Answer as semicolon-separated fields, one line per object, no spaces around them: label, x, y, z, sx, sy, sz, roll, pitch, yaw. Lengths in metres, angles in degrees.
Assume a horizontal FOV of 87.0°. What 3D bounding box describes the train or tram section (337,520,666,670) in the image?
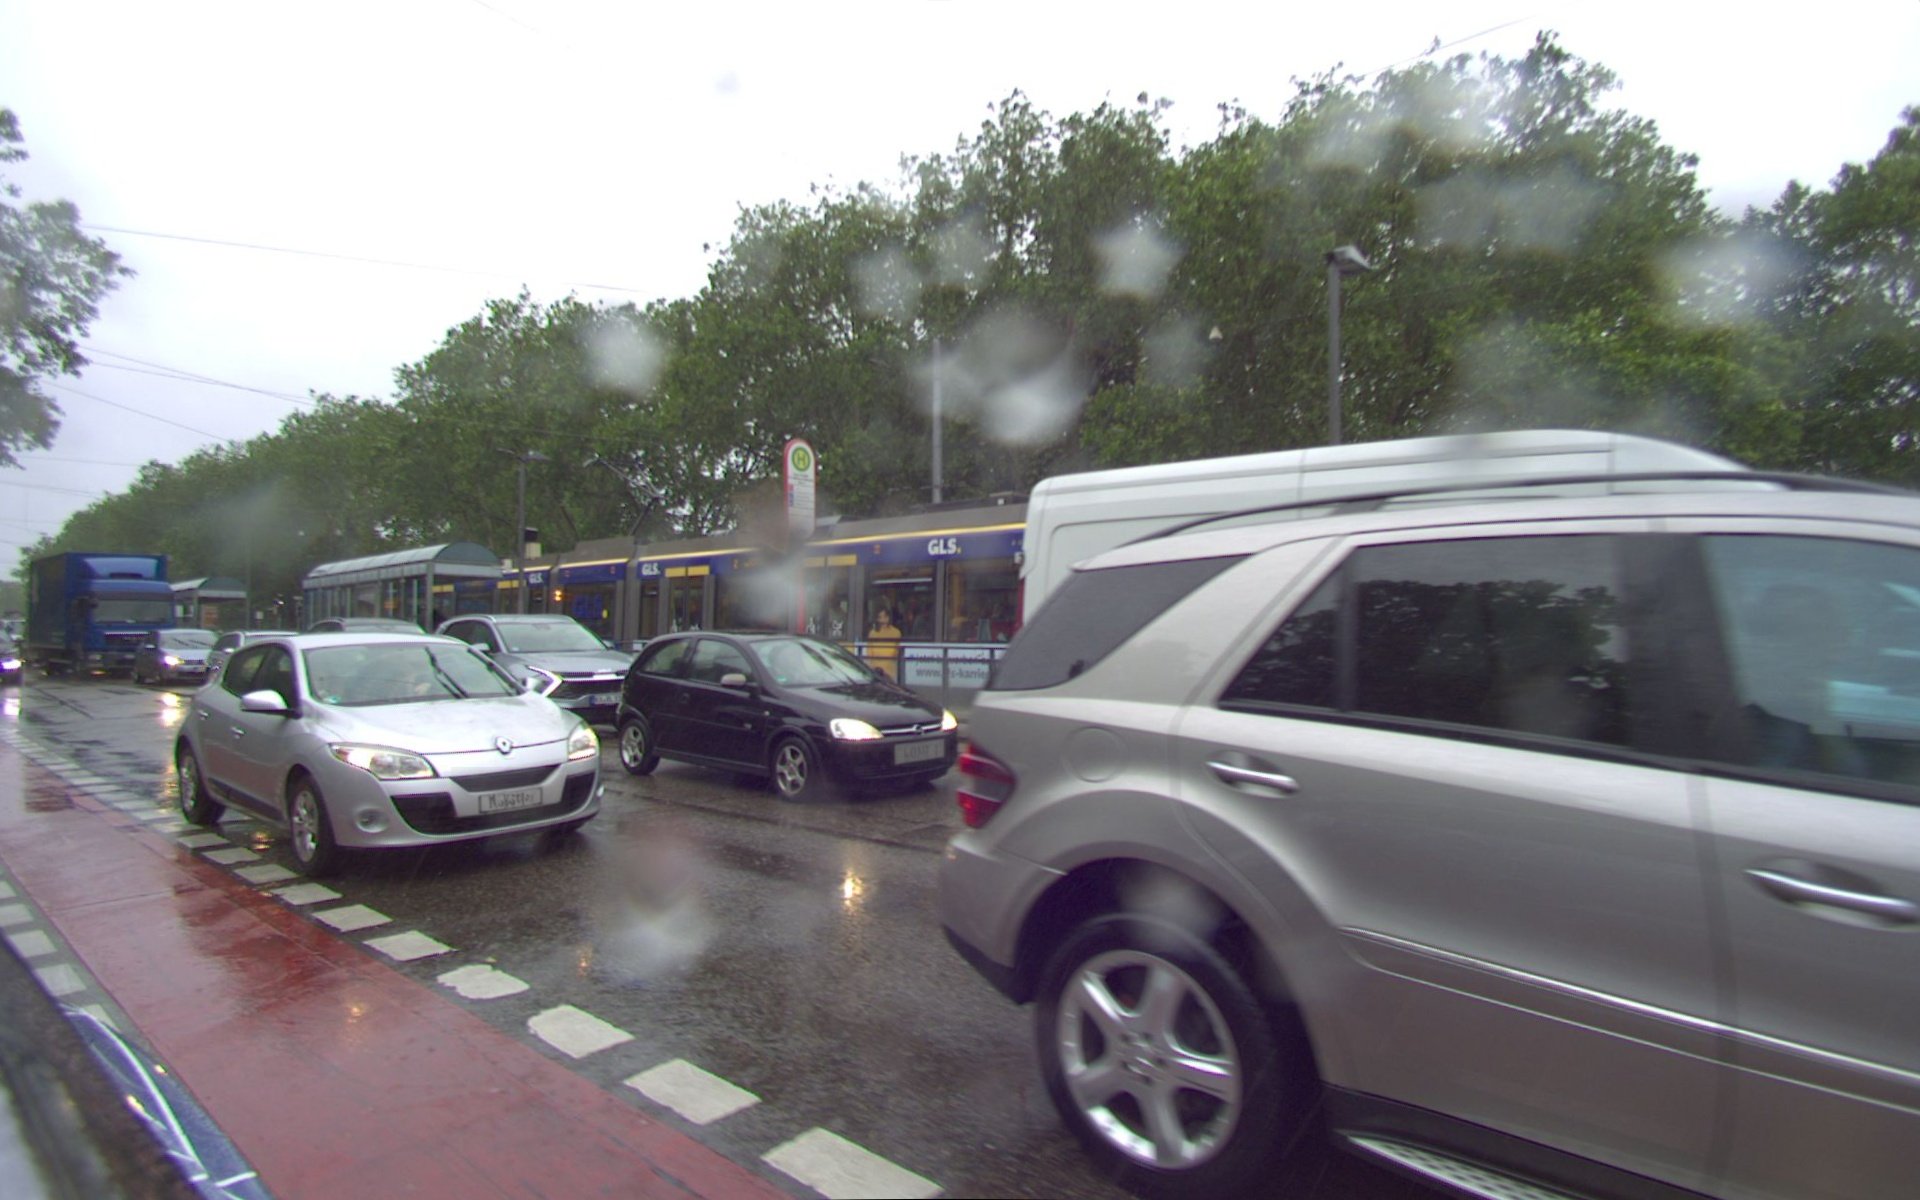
train or tram section;-13.960;0.004;29.644;13.653;3.539;3.476;-2;0;42

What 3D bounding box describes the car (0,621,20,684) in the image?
car;-27.530;1.464;28.166;3.678;1.679;1.732;-2;-1;43

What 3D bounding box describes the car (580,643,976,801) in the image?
car;-1.877;1.010;9.607;4.085;1.126;1.448;-2;-1;41

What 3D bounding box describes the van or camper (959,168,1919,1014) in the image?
van or camper;2.932;0.049;5.741;5.846;3.166;2.136;-3;-3;40

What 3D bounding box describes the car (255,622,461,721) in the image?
car;-11.248;1.246;18.821;4.316;1.633;1.973;-2;-2;40

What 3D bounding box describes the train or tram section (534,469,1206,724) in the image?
train or tram section;-3.037;0.103;20.085;15.496;3.439;3.504;-2;0;41

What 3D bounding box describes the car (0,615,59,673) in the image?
car;-43.060;1.975;46.514;5.727;2.445;1.972;-2;0;43

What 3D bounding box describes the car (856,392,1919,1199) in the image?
car;2.037;0.582;2.297;4.459;1.783;2.004;-2;-1;41

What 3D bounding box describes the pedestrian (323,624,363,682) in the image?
pedestrian;-15.677;1.335;25.721;0.750;1.429;0.626;-2;0;40

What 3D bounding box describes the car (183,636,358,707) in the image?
car;-15.172;1.497;22.189;4.603;1.405;1.973;-2;-3;40

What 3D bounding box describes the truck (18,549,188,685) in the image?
truck;-28.498;0.651;33.450;9.803;3.919;2.513;-2;-4;40

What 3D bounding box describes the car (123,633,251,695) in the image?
car;-20.688;1.645;27.050;4.074;1.498;1.871;-2;-2;40

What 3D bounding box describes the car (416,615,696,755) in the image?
car;-5.733;1.071;14.090;4.454;1.636;1.893;-2;-3;43

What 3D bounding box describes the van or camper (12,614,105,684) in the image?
van or camper;-36.285;1.913;40.645;6.428;2.590;1.973;-2;0;41

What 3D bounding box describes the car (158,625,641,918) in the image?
car;-4.169;0.952;7.255;3.998;1.489;1.750;-2;-1;41
